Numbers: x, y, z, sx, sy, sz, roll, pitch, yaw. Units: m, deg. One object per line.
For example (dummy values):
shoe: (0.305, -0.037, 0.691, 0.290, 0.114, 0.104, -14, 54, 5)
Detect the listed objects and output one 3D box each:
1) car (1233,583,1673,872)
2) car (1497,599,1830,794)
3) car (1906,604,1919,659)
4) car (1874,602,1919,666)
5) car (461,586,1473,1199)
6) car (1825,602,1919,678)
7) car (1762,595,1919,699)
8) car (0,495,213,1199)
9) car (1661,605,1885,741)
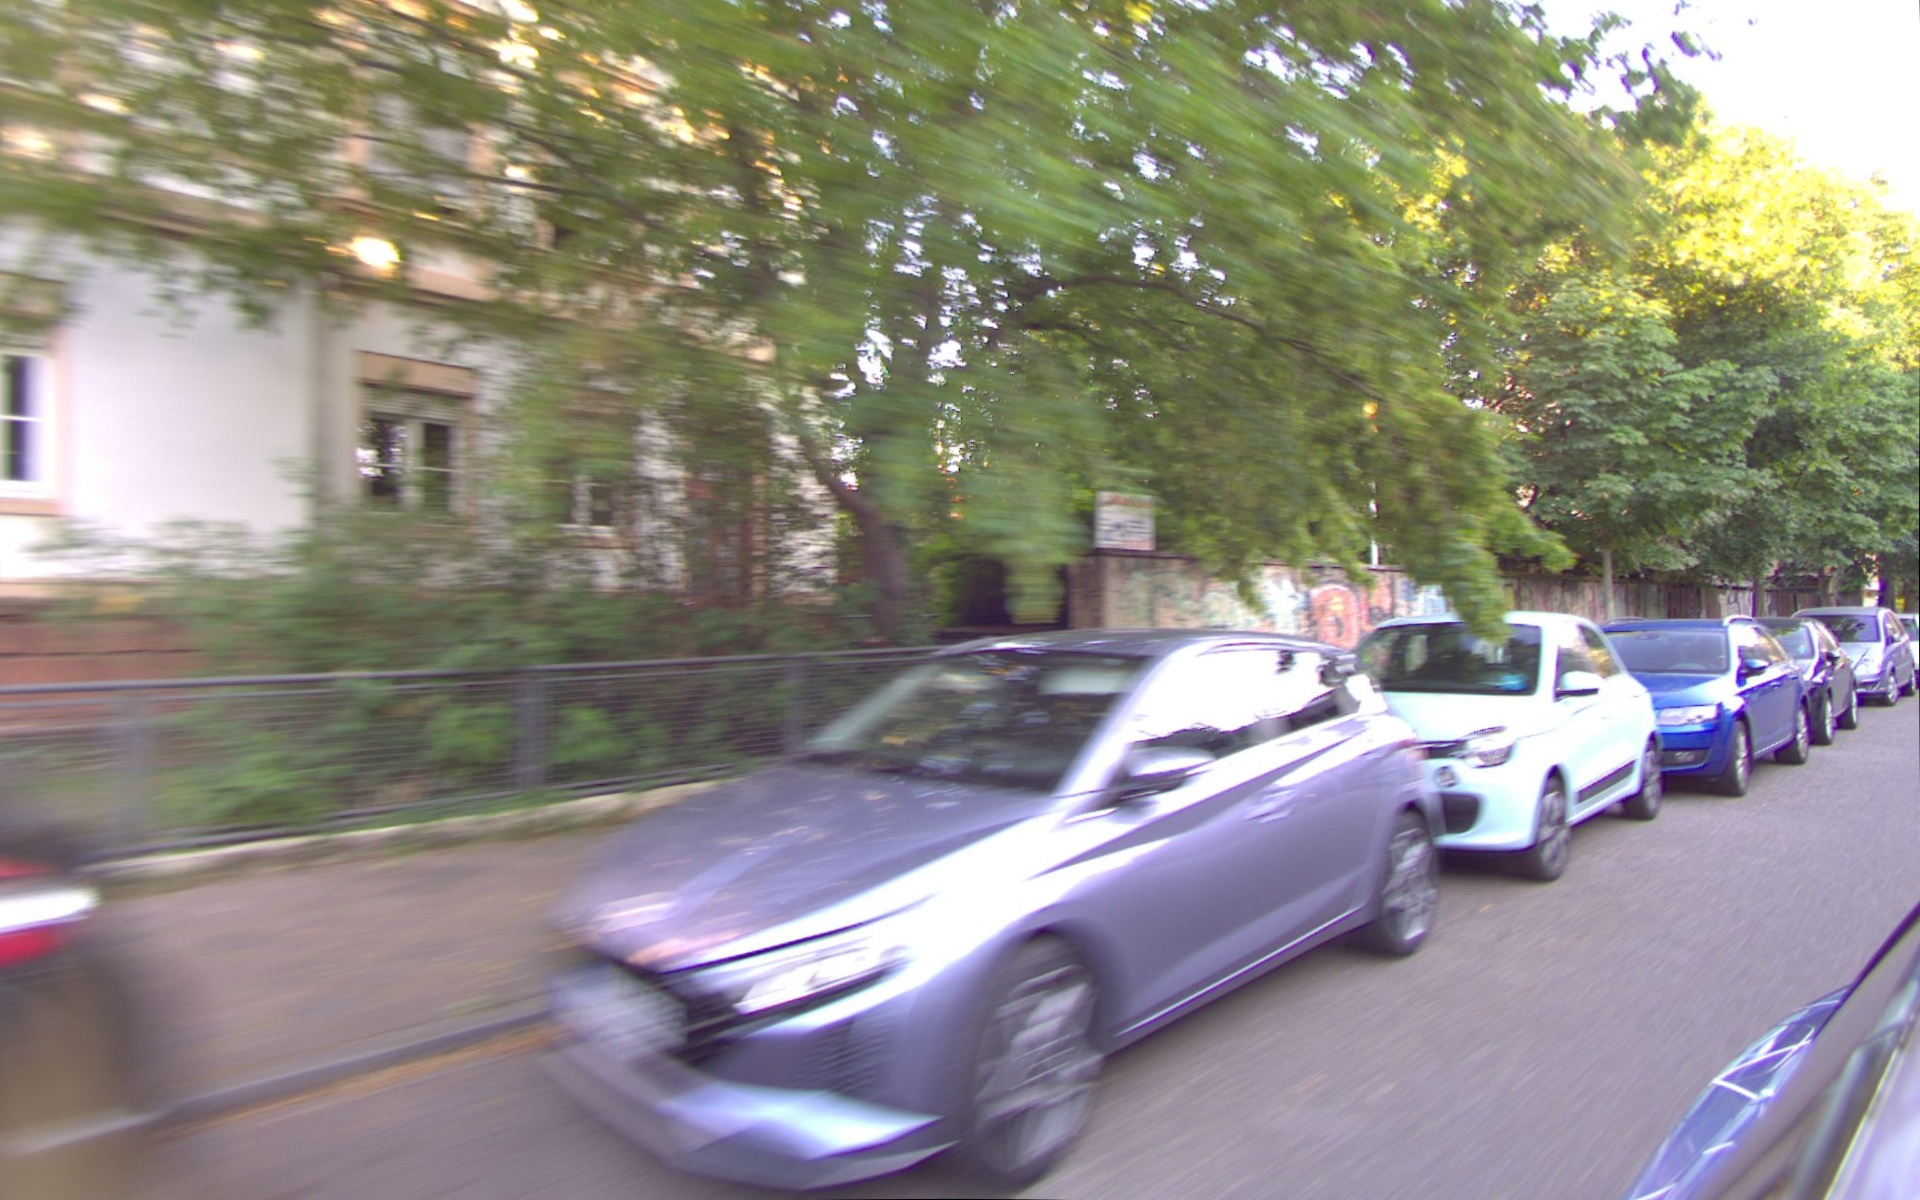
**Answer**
car: (3.588, 0.677, 7.099, 3.501, 1.496, 1.696, 0, -1, -45)
car: (6.903, 0.756, 9.770, 4.045, 1.496, 1.697, 0, -1, -41)
car: (27.513, 0.863, 27.838, 3.935, 1.461, 1.762, 2, -2, -41)
car: (23.959, 0.795, 24.826, 4.316, 1.473, 1.762, 0, -1, -41)
car: (0.465, 0.740, 4.085, 1.695, 1.496, 4.145, -1, -1, 44)
car: (19.554, 0.806, 21.095, 3.805, 1.460, 1.762, 2, -2, -41)
car: (15.543, 0.744, 17.648, 3.806, 1.624, 1.762, 0, -1, -41)
car: (-3.249, 0.645, 1.006, 3.903, 1.591, 1.697, 0, -1, -42)
car: (10.528, 0.826, 13.024, 3.708, 1.496, 1.599, 0, -1, -41)
